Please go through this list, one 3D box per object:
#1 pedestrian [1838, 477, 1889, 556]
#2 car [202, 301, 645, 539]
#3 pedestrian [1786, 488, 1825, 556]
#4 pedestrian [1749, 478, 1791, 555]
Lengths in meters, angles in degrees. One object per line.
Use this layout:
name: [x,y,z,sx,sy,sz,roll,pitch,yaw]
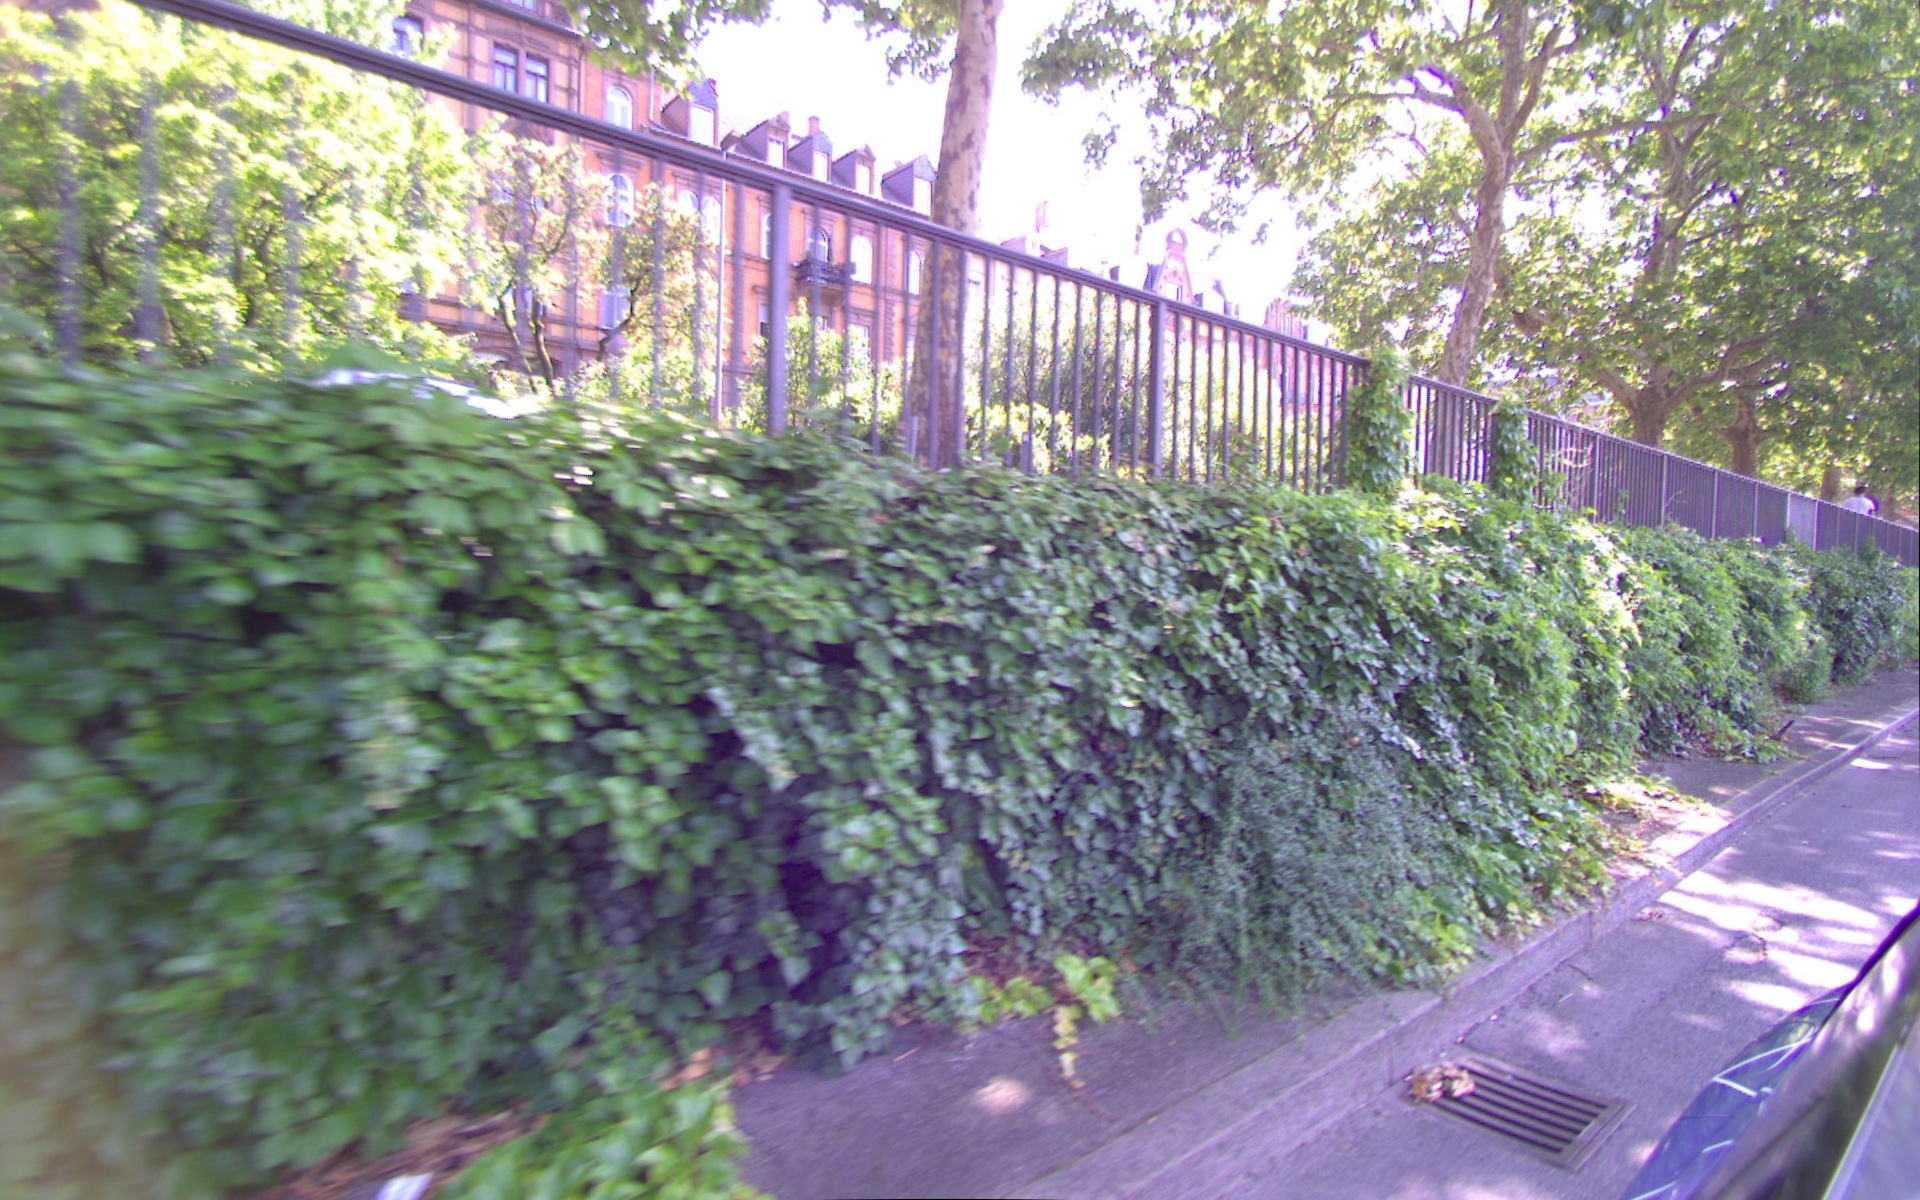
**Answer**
pedestrian: [18.969,-1.733,21.250,0.639,1.610,0.666,0,2,-41]
car: [-4.066,-1.181,7.414,3.724,1.250,1.650,6,5,41]
pedestrian: [18.428,-1.692,22.060,0.584,1.437,0.580,3,2,41]
pedestrian: [18.082,-1.848,22.585,0.646,1.660,0.617,3,2,41]
